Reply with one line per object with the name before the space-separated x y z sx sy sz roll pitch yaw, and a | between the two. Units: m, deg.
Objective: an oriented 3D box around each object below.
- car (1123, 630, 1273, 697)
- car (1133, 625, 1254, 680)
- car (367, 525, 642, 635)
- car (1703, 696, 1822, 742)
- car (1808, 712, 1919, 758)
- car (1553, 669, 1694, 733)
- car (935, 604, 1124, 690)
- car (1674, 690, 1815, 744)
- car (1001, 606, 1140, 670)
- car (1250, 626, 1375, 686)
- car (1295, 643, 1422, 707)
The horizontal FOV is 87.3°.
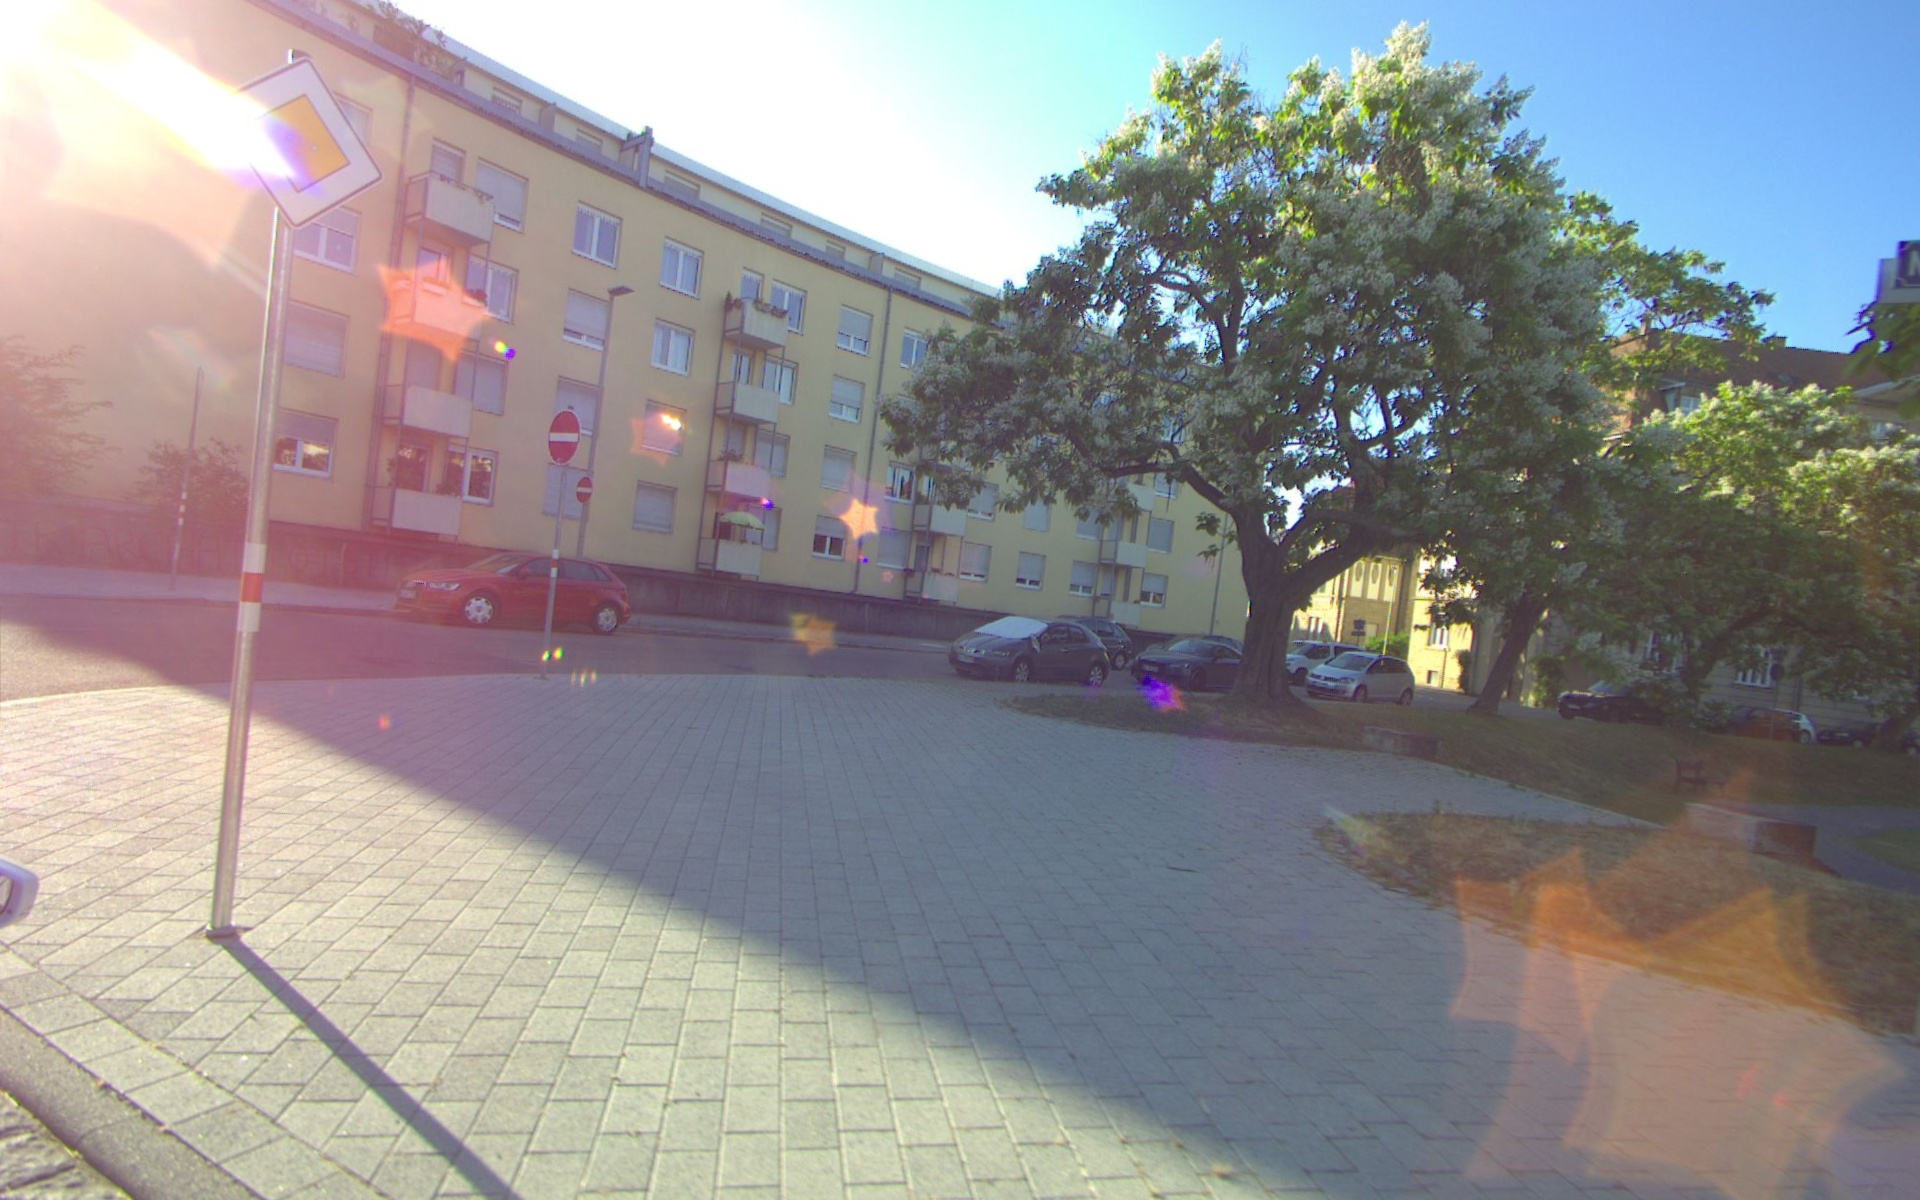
car | 6.401 1.723 26.820 4.177 1.374 1.673 7 1 -41
car | 8.270 1.851 35.565 3.960 1.471 1.864 7 1 -33
car | -8.334 -0.307 18.765 1.967 1.550 4.198 7 0 33
car | 37.297 5.524 46.827 3.927 1.471 1.879 7 1 -2
car | 42.635 6.331 47.156 3.925 1.471 1.880 7 1 2
car | 24.683 3.760 37.472 4.459 1.768 1.873 7 1 -18
car | 1.593 1.054 21.829 1.671 1.481 4.184 7 1 44
car | 30.915 4.609 39.698 4.293 1.471 1.877 7 1 -9
car | 3.629 1.258 32.446 4.495 1.589 1.858 7 1 -43
car | 13.728 2.178 39.127 4.471 1.768 1.868 7 1 -27
car | 12.420 2.350 31.258 3.961 1.571 1.595 7 1 -34
